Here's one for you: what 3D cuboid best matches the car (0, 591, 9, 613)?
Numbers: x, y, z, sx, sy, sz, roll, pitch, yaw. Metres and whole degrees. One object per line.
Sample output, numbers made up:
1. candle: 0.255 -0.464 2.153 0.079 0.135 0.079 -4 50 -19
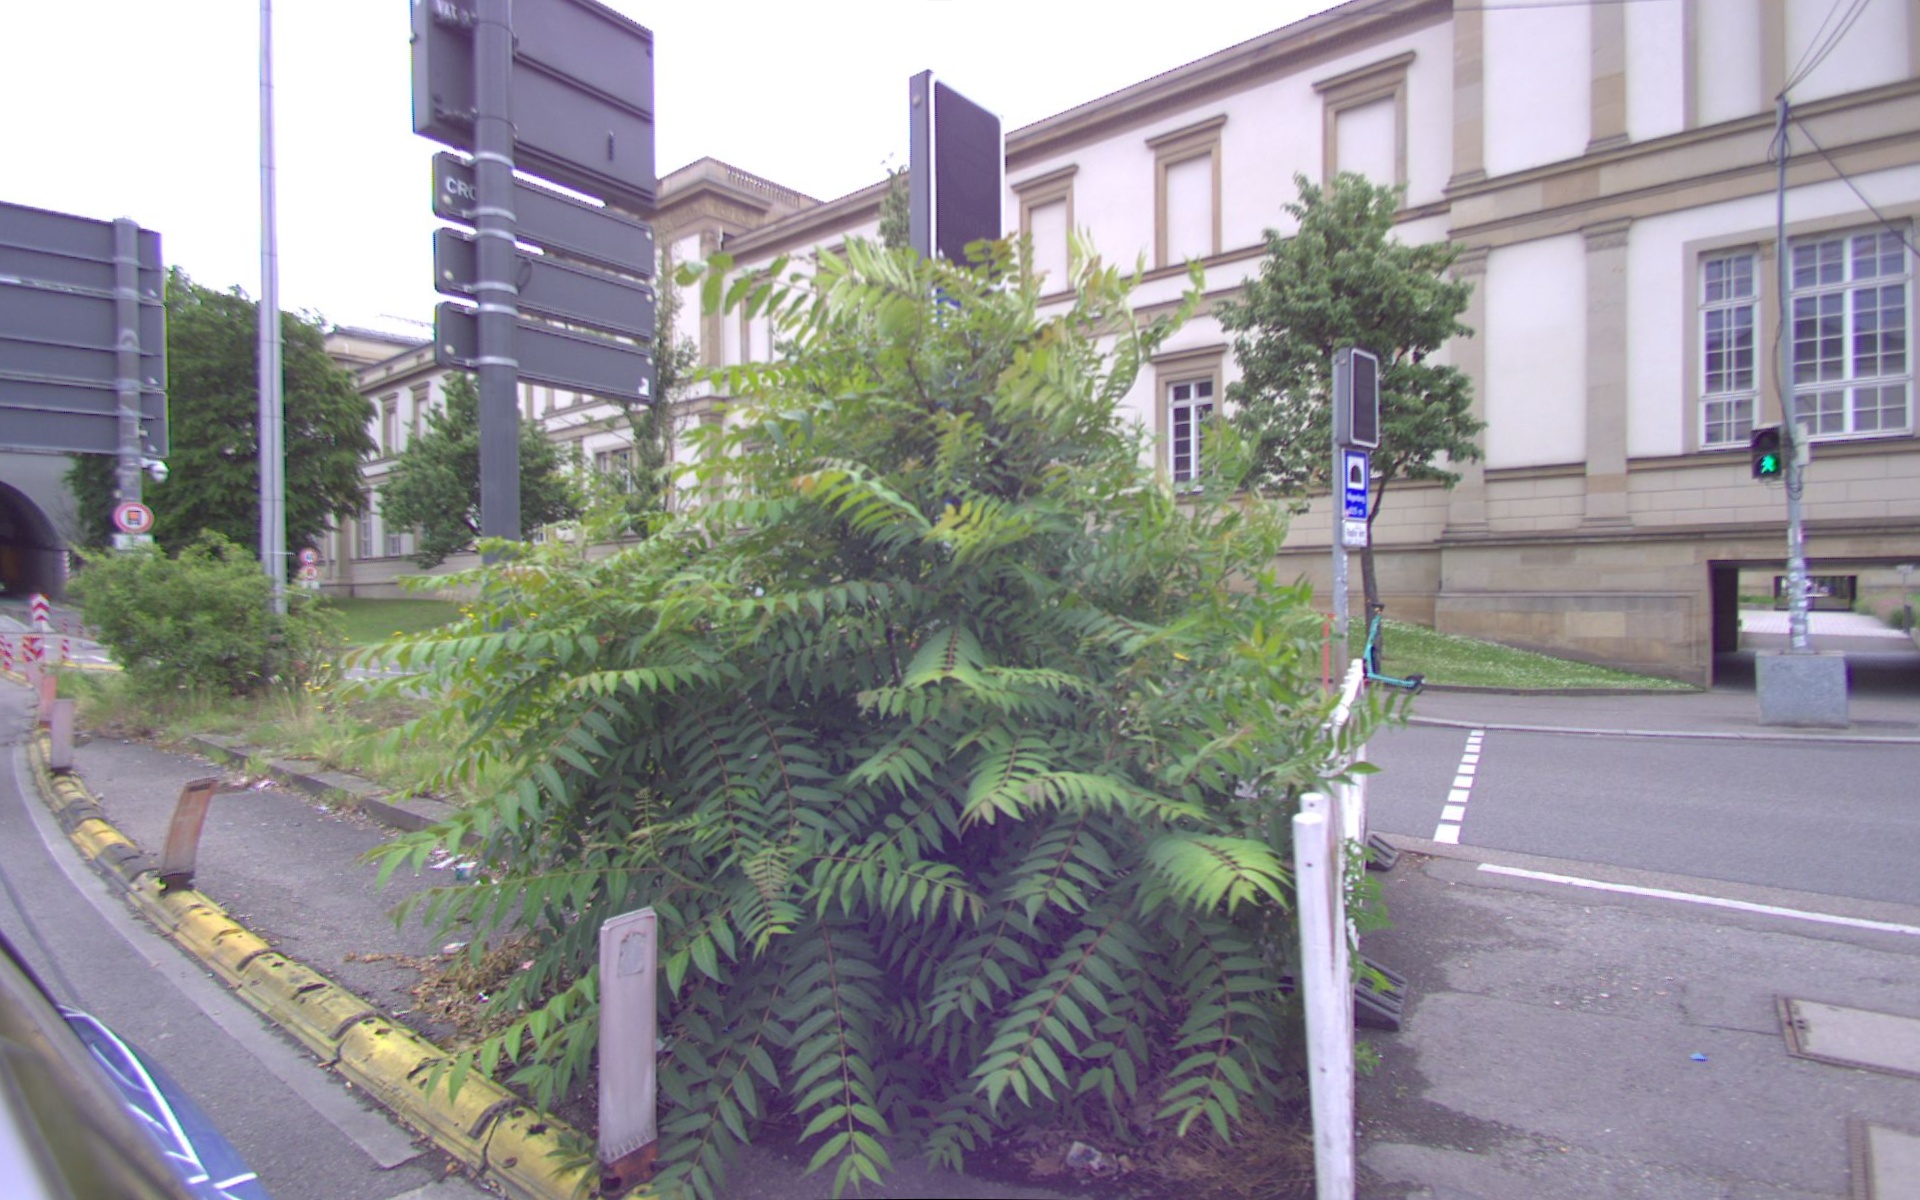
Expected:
1. car: -75.659 0.153 79.036 4.001 1.759 1.812 0 0 44
